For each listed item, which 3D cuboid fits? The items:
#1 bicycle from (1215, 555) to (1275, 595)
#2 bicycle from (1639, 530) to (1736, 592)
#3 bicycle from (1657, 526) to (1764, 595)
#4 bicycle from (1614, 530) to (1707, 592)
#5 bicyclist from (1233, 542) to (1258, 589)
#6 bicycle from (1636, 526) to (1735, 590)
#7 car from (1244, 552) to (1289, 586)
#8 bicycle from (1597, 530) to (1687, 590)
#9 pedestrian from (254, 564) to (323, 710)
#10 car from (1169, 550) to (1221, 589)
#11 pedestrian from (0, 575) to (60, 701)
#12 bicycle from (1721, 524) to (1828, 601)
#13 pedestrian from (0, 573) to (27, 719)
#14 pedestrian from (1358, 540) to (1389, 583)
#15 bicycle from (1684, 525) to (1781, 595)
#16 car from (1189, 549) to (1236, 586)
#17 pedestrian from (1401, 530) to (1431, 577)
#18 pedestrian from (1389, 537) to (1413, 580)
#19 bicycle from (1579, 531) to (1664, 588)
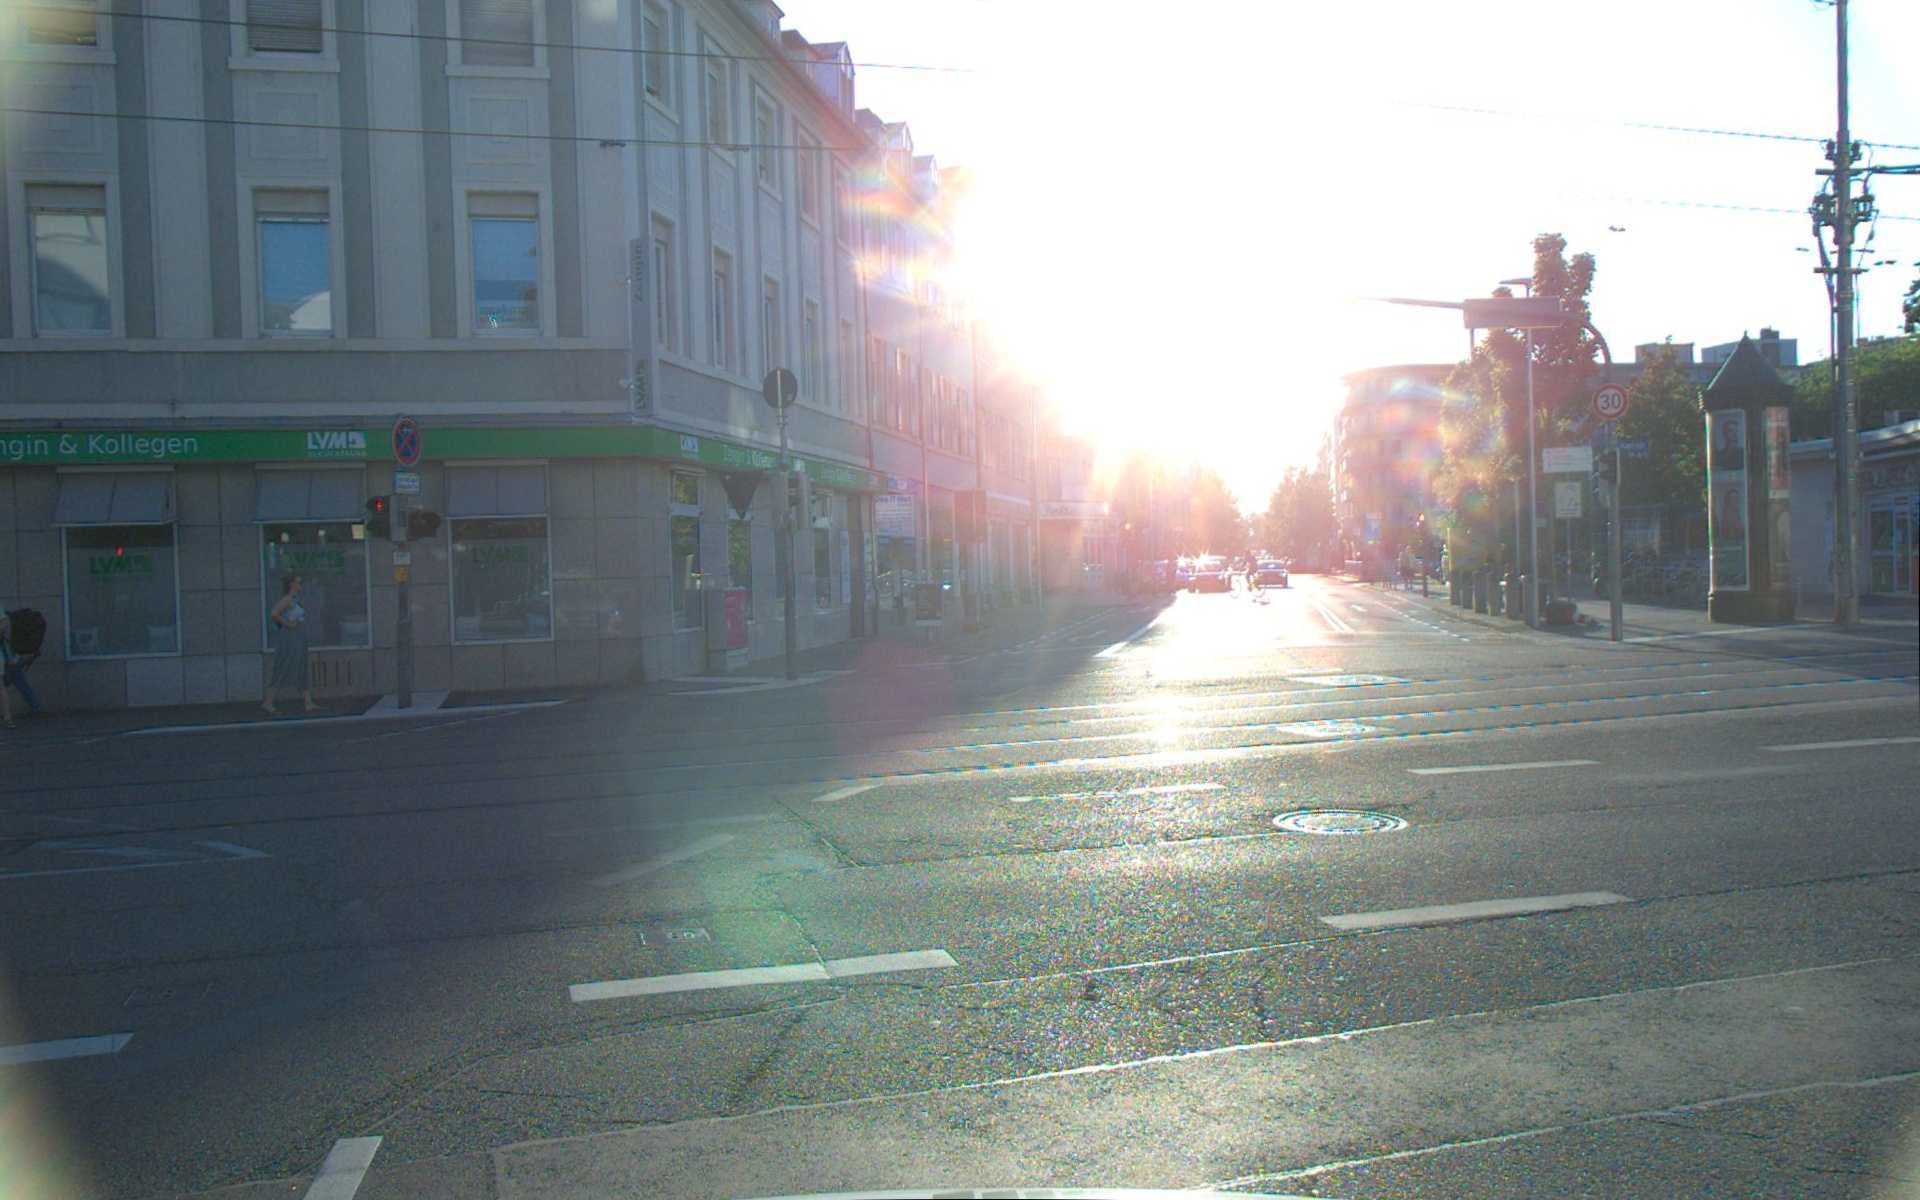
[{"bbox_3d":[10.806,-0.939,62.762,2.187,1.426,0.678,-1,1,39],"label":"bicycle"},{"bbox_3d":[19.040,-1.019,43.319,2.175,1.549,0.681,-2,1,11],"label":"bicycle"},{"bbox_3d":[17.915,-0.933,39.516,2.175,1.549,0.681,-2,1,11],"label":"bicycle"},{"bbox_3d":[18.812,-1.049,44.460,2.175,1.549,0.681,-2,1,11],"label":"bicycle"},{"bbox_3d":[10.830,-1.316,62.746,0.656,1.737,0.678,-1,1,39],"label":"bicyclist"},{"bbox_3d":[18.453,-1.066,42.103,2.175,1.549,0.681,-2,1,11],"label":"bicycle"},{"bbox_3d":[16.403,-1.684,88.579,2.254,1.707,5.538,-2,1,10],"label":"car"},{"bbox_3d":[18.904,-1.102,45.850,2.175,1.549,0.681,-2,1,11],"label":"bicycle"},{"bbox_3d":[-8.593,0.460,21.180,0.634,1.809,0.670,-2,1,-12],"label":"pedestrian"},{"bbox_3d":[11.378,-1.495,79.720,2.254,1.707,5.538,-2,1,10],"label":"car"},{"bbox_3d":[-12.225,0.489,21.321,0.852,1.575,0.697,-2,1,-12],"label":"pedestrian"},{"bbox_3d":[17.260,-0.793,35.066,1.943,1.549,0.479,-2,1,10],"label":"bicycle"},{"bbox_3d":[-12.041,0.565,20.410,0.685,1.775,0.638,-2,1,-12],"label":"pedestrian"},{"bbox_3d":[17.877,-1.661,71.495,0.795,1.814,0.985,-3,1,-28],"label":"pedestrian"},{"bbox_3d":[17.937,-0.933,38.451,1.943,1.549,0.479,-2,1,11],"label":"bicycle"},{"bbox_3d":[13.336,-1.733,87.086,2.254,1.798,5.538,-2,1,10],"label":"car"},{"bbox_3d":[19.832,-2.041,71.923,0.974,1.990,0.803,-2,1,37],"label":"pedestrian"},{"bbox_3d":[18.904,-1.781,70.885,0.788,1.817,0.993,-3,0,24],"label":"pedestrian"},{"bbox_3d":[19.026,-1.171,47.619,2.175,1.549,0.681,-2,1,15],"label":"bicycle"}]
